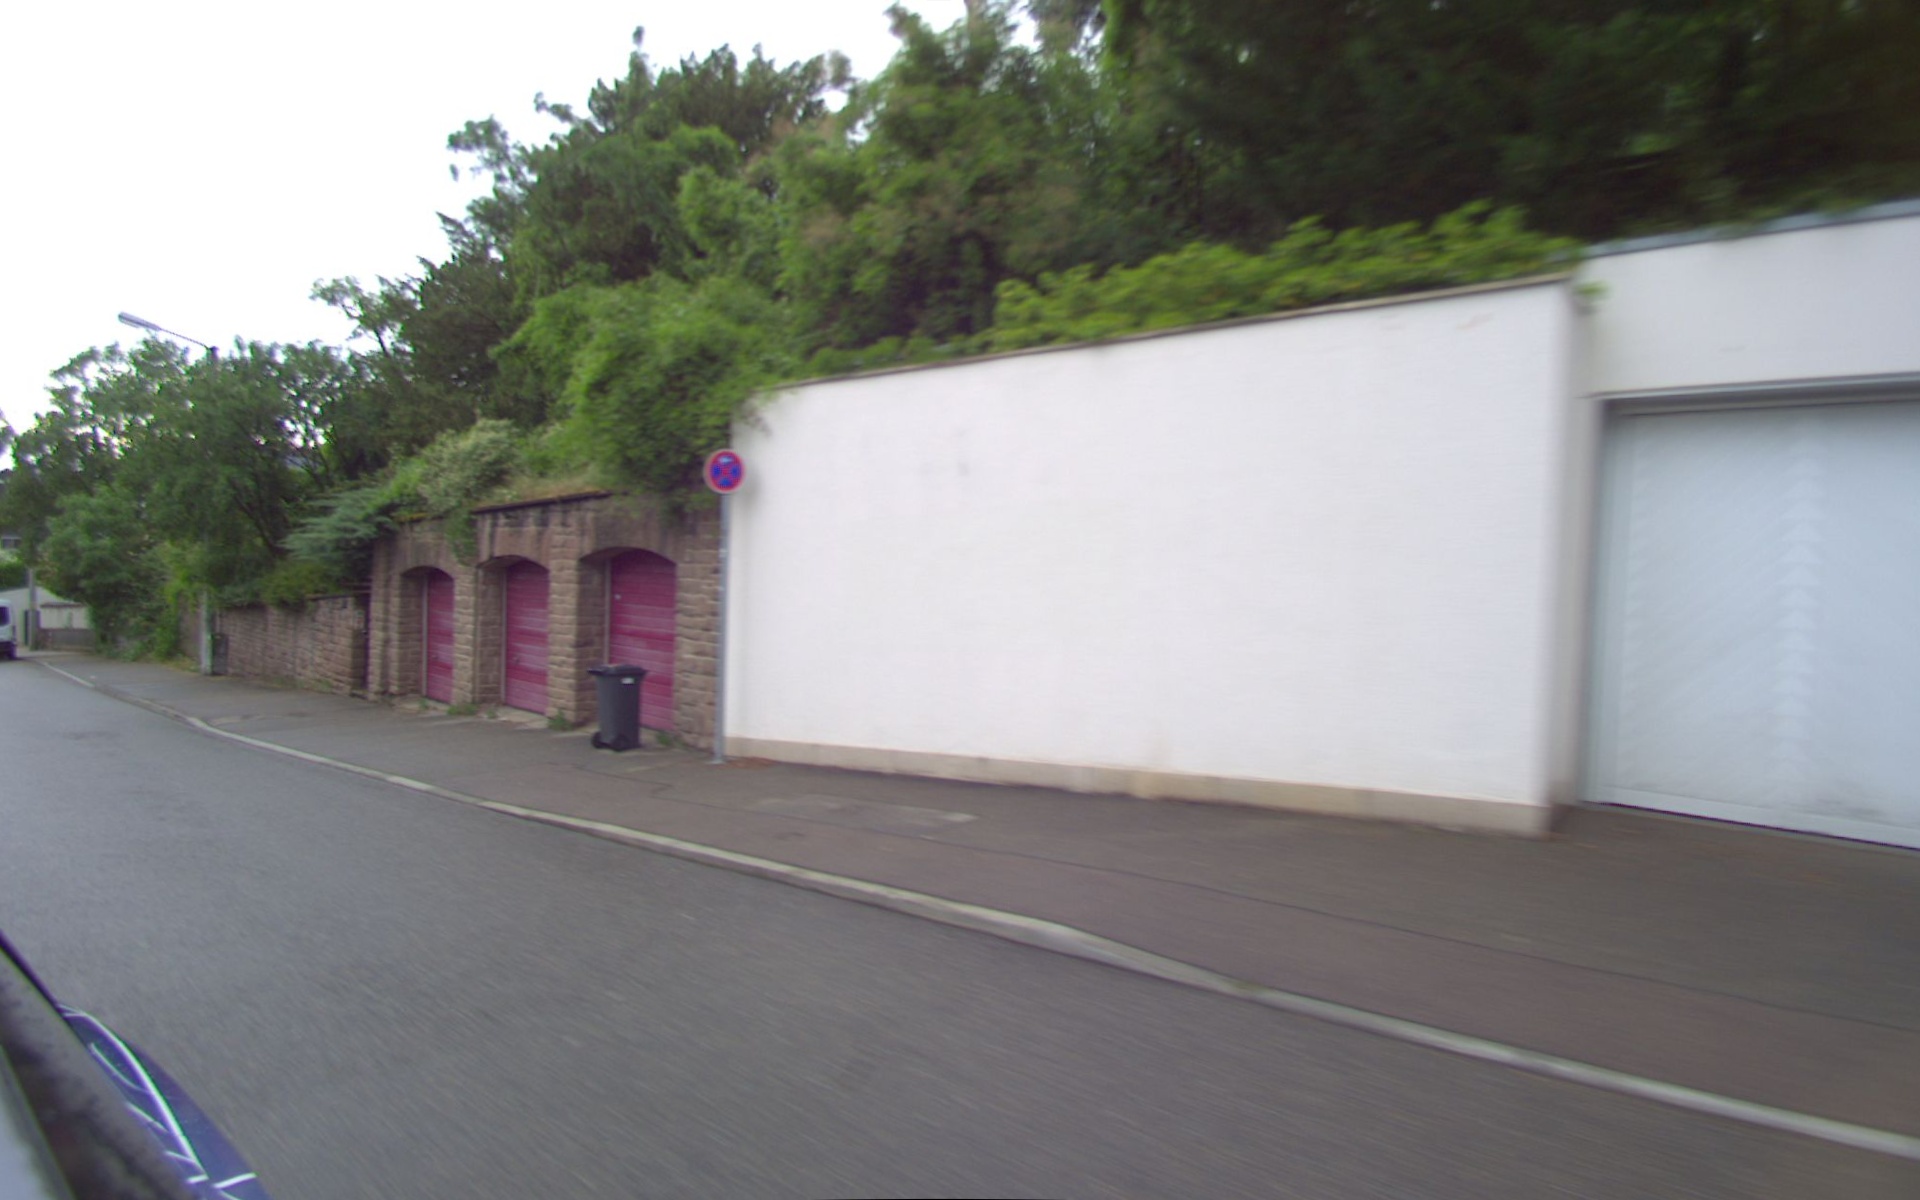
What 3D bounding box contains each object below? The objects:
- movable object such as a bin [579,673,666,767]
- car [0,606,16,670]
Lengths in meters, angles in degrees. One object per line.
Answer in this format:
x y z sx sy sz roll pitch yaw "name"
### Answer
-3.717 1.301 11.150 0.677 0.926 0.651 -2 0 43 "movable object such as a bin"
-41.363 1.650 42.323 6.093 2.569 2.073 -2 0 41 "car"
